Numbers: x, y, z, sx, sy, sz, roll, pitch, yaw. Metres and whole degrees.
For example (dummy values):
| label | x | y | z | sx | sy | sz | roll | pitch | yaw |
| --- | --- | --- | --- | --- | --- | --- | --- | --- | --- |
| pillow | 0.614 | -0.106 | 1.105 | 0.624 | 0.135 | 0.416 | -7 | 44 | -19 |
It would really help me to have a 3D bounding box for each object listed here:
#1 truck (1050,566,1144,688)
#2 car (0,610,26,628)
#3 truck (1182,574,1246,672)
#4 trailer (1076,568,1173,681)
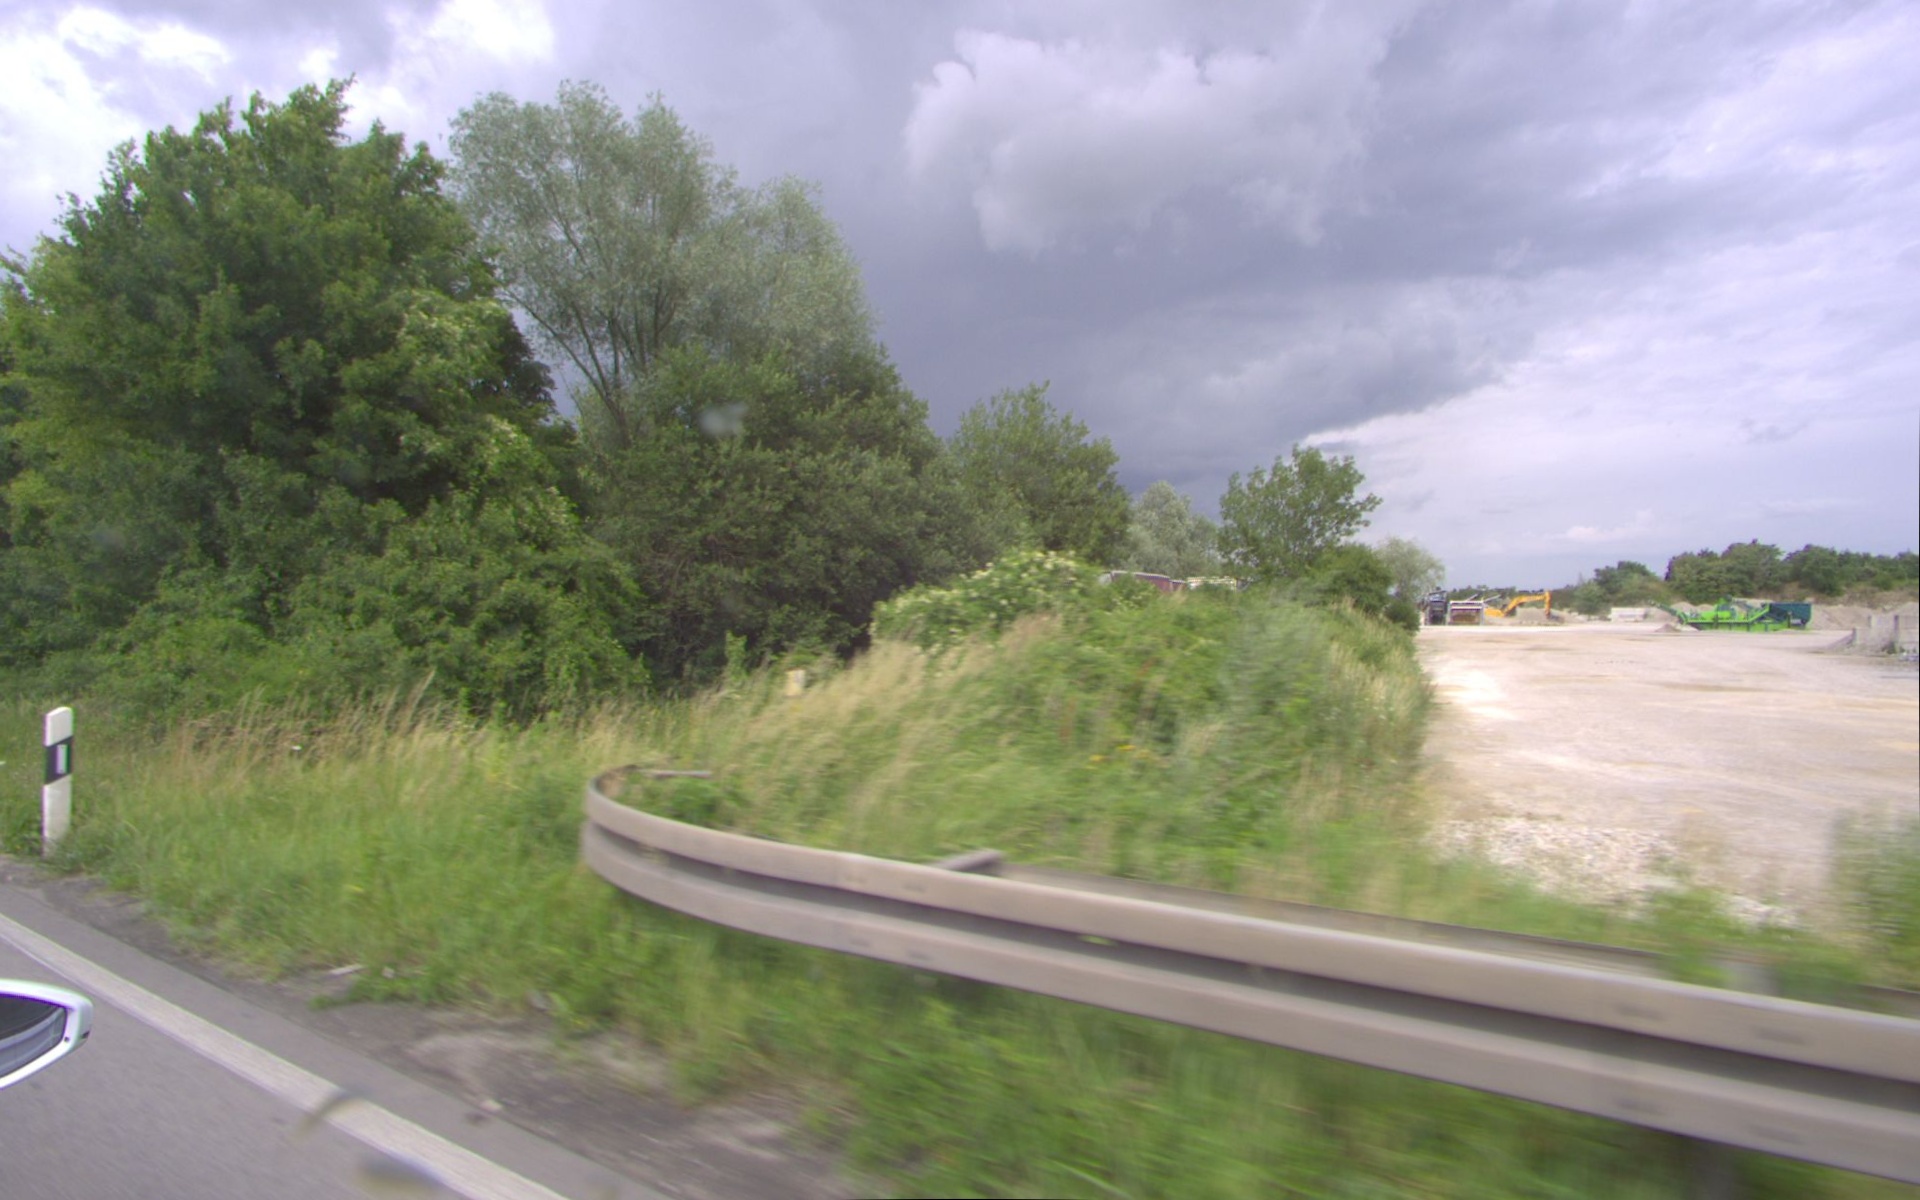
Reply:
| label | x | y | z | sx | sy | sz | roll | pitch | yaw |
| --- | --- | --- | --- | --- | --- | --- | --- | --- | --- |
| truck | 5.988 | 1.093 | 42.954 | 2.621 | 4.850 | 6.149 | 0 | 0 | 21 |
| car | -95.167 | 1.904 | 100.228 | 1.978 | 1.716 | 4.451 | 4 | -4 | -39 |
| truck | 13.764 | 1.175 | 53.938 | 2.621 | 4.953 | 5.951 | 0 | 0 | 21 |
| trailer | 8.197 | 1.096 | 48.562 | 2.621 | 4.898 | 10.259 | 0 | 0 | 21 |
